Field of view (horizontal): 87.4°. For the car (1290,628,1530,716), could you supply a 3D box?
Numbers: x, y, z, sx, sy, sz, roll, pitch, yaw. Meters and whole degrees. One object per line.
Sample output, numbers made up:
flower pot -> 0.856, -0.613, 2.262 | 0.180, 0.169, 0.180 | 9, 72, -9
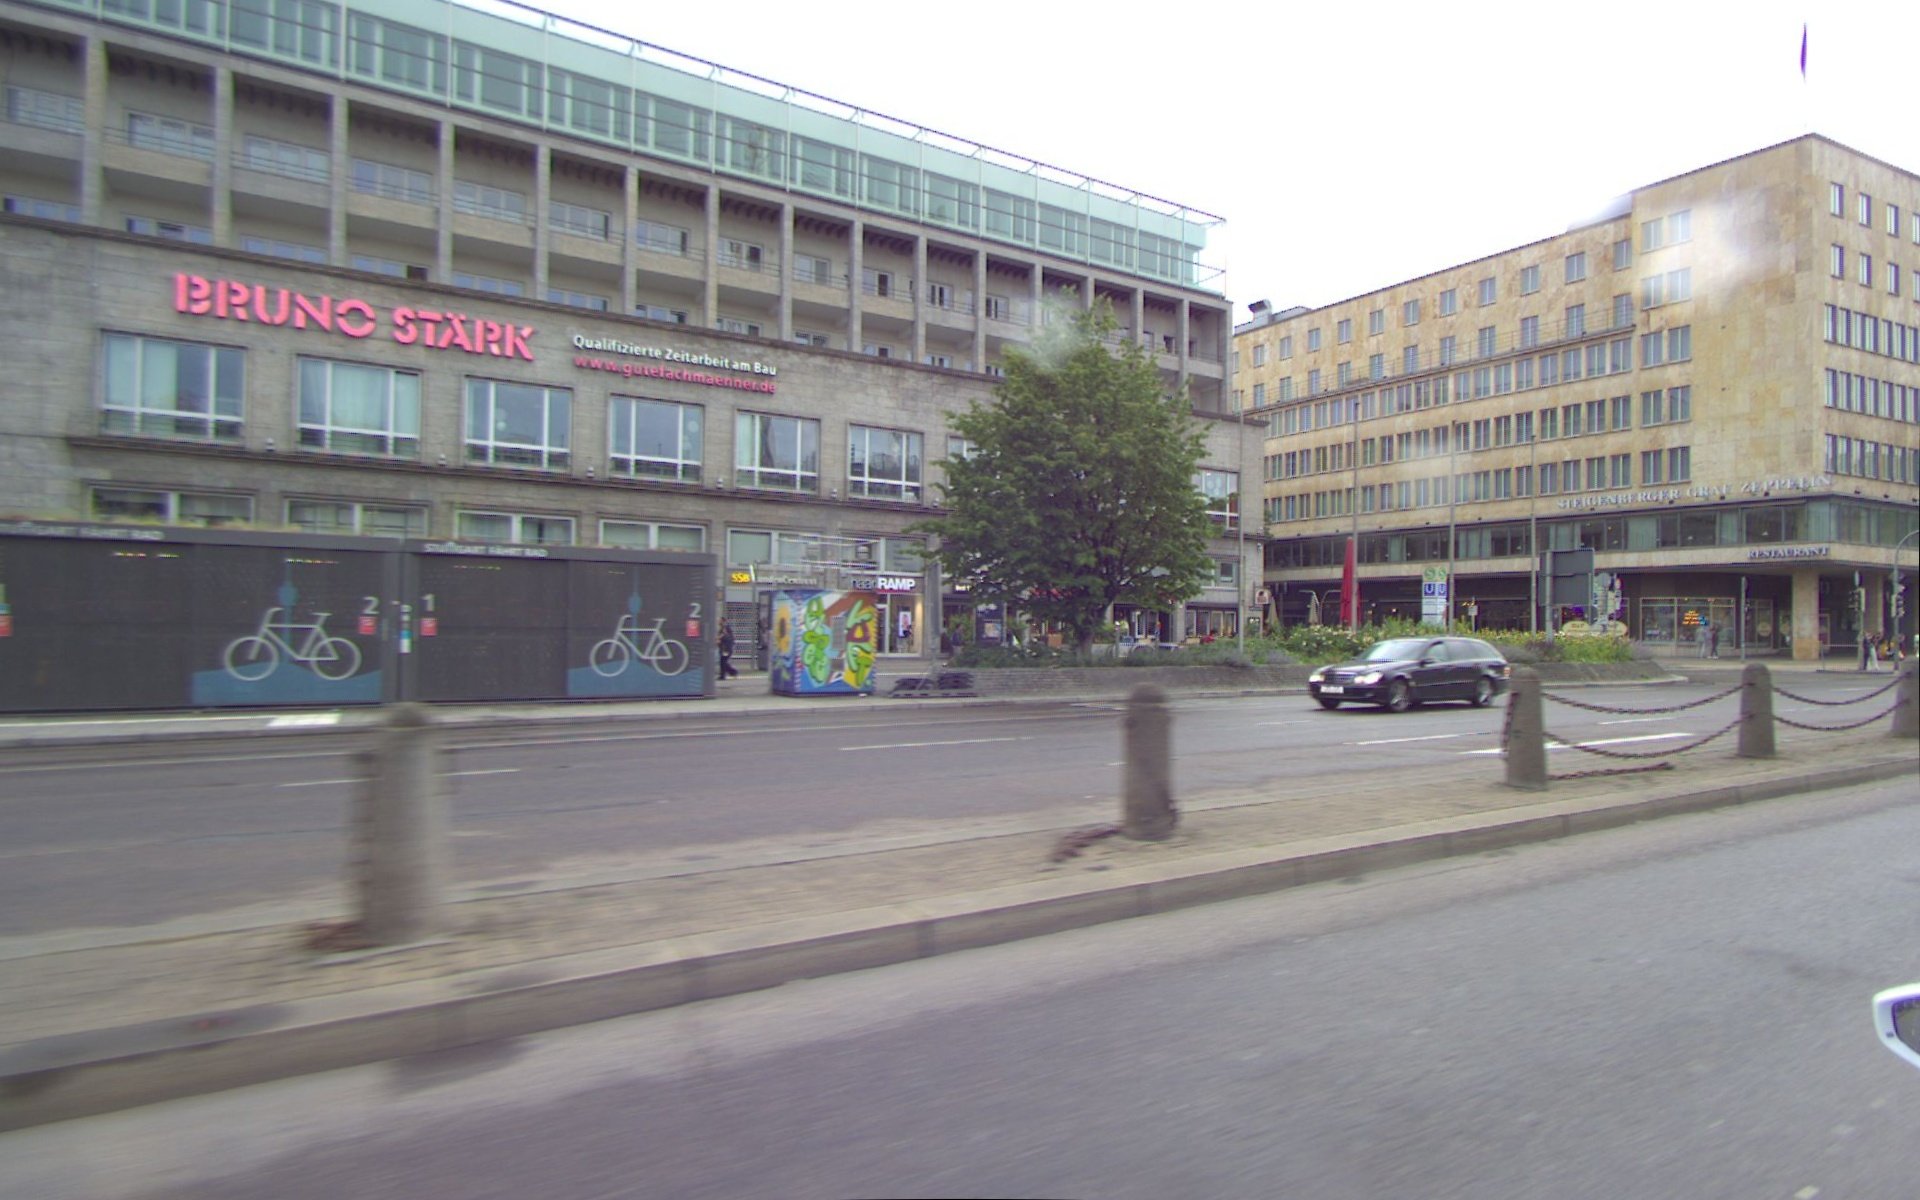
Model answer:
car -> 9.357, 1.411, 20.818 | 4.916, 1.638, 1.986 | 1, -2, -28

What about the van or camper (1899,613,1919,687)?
van or camper -> 28.952, 1.410, 28.425 | 5.125, 2.040, 1.985 | 1, -1, -29

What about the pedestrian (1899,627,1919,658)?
pedestrian -> 49.521, 2.203, 52.250 | 0.894, 1.578, 0.718 | 1, -2, -27

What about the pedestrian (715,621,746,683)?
pedestrian -> -6.750, 1.523, 29.538 | 0.720, 1.775, 0.662 | 1, -2, -31

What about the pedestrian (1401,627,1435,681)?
pedestrian -> 15.200, 1.795, 33.331 | 0.782, 1.757, 0.665 | 0, -2, -24

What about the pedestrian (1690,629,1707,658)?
pedestrian -> 41.698, 2.446, 56.719 | 0.687, 1.665, 0.647 | -1, -2, 43

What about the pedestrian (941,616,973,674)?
pedestrian -> -0.112, 1.620, 36.034 | 1.061, 2.040, 0.771 | 0, -2, 8

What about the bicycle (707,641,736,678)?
bicycle -> -7.827, 1.933, 32.943 | 0.496, 1.176, 1.898 | 1, -2, -27

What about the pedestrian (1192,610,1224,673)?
pedestrian -> 8.139, 1.365, 32.952 | 0.783, 2.040, 0.664 | 1, -2, -28

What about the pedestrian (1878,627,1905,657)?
pedestrian -> 49.222, 2.194, 53.082 | 0.992, 1.578, 0.718 | 1, -2, -27

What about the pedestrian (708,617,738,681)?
pedestrian -> -7.104, 1.452, 30.121 | 0.720, 1.877, 0.662 | 1, -2, -31
